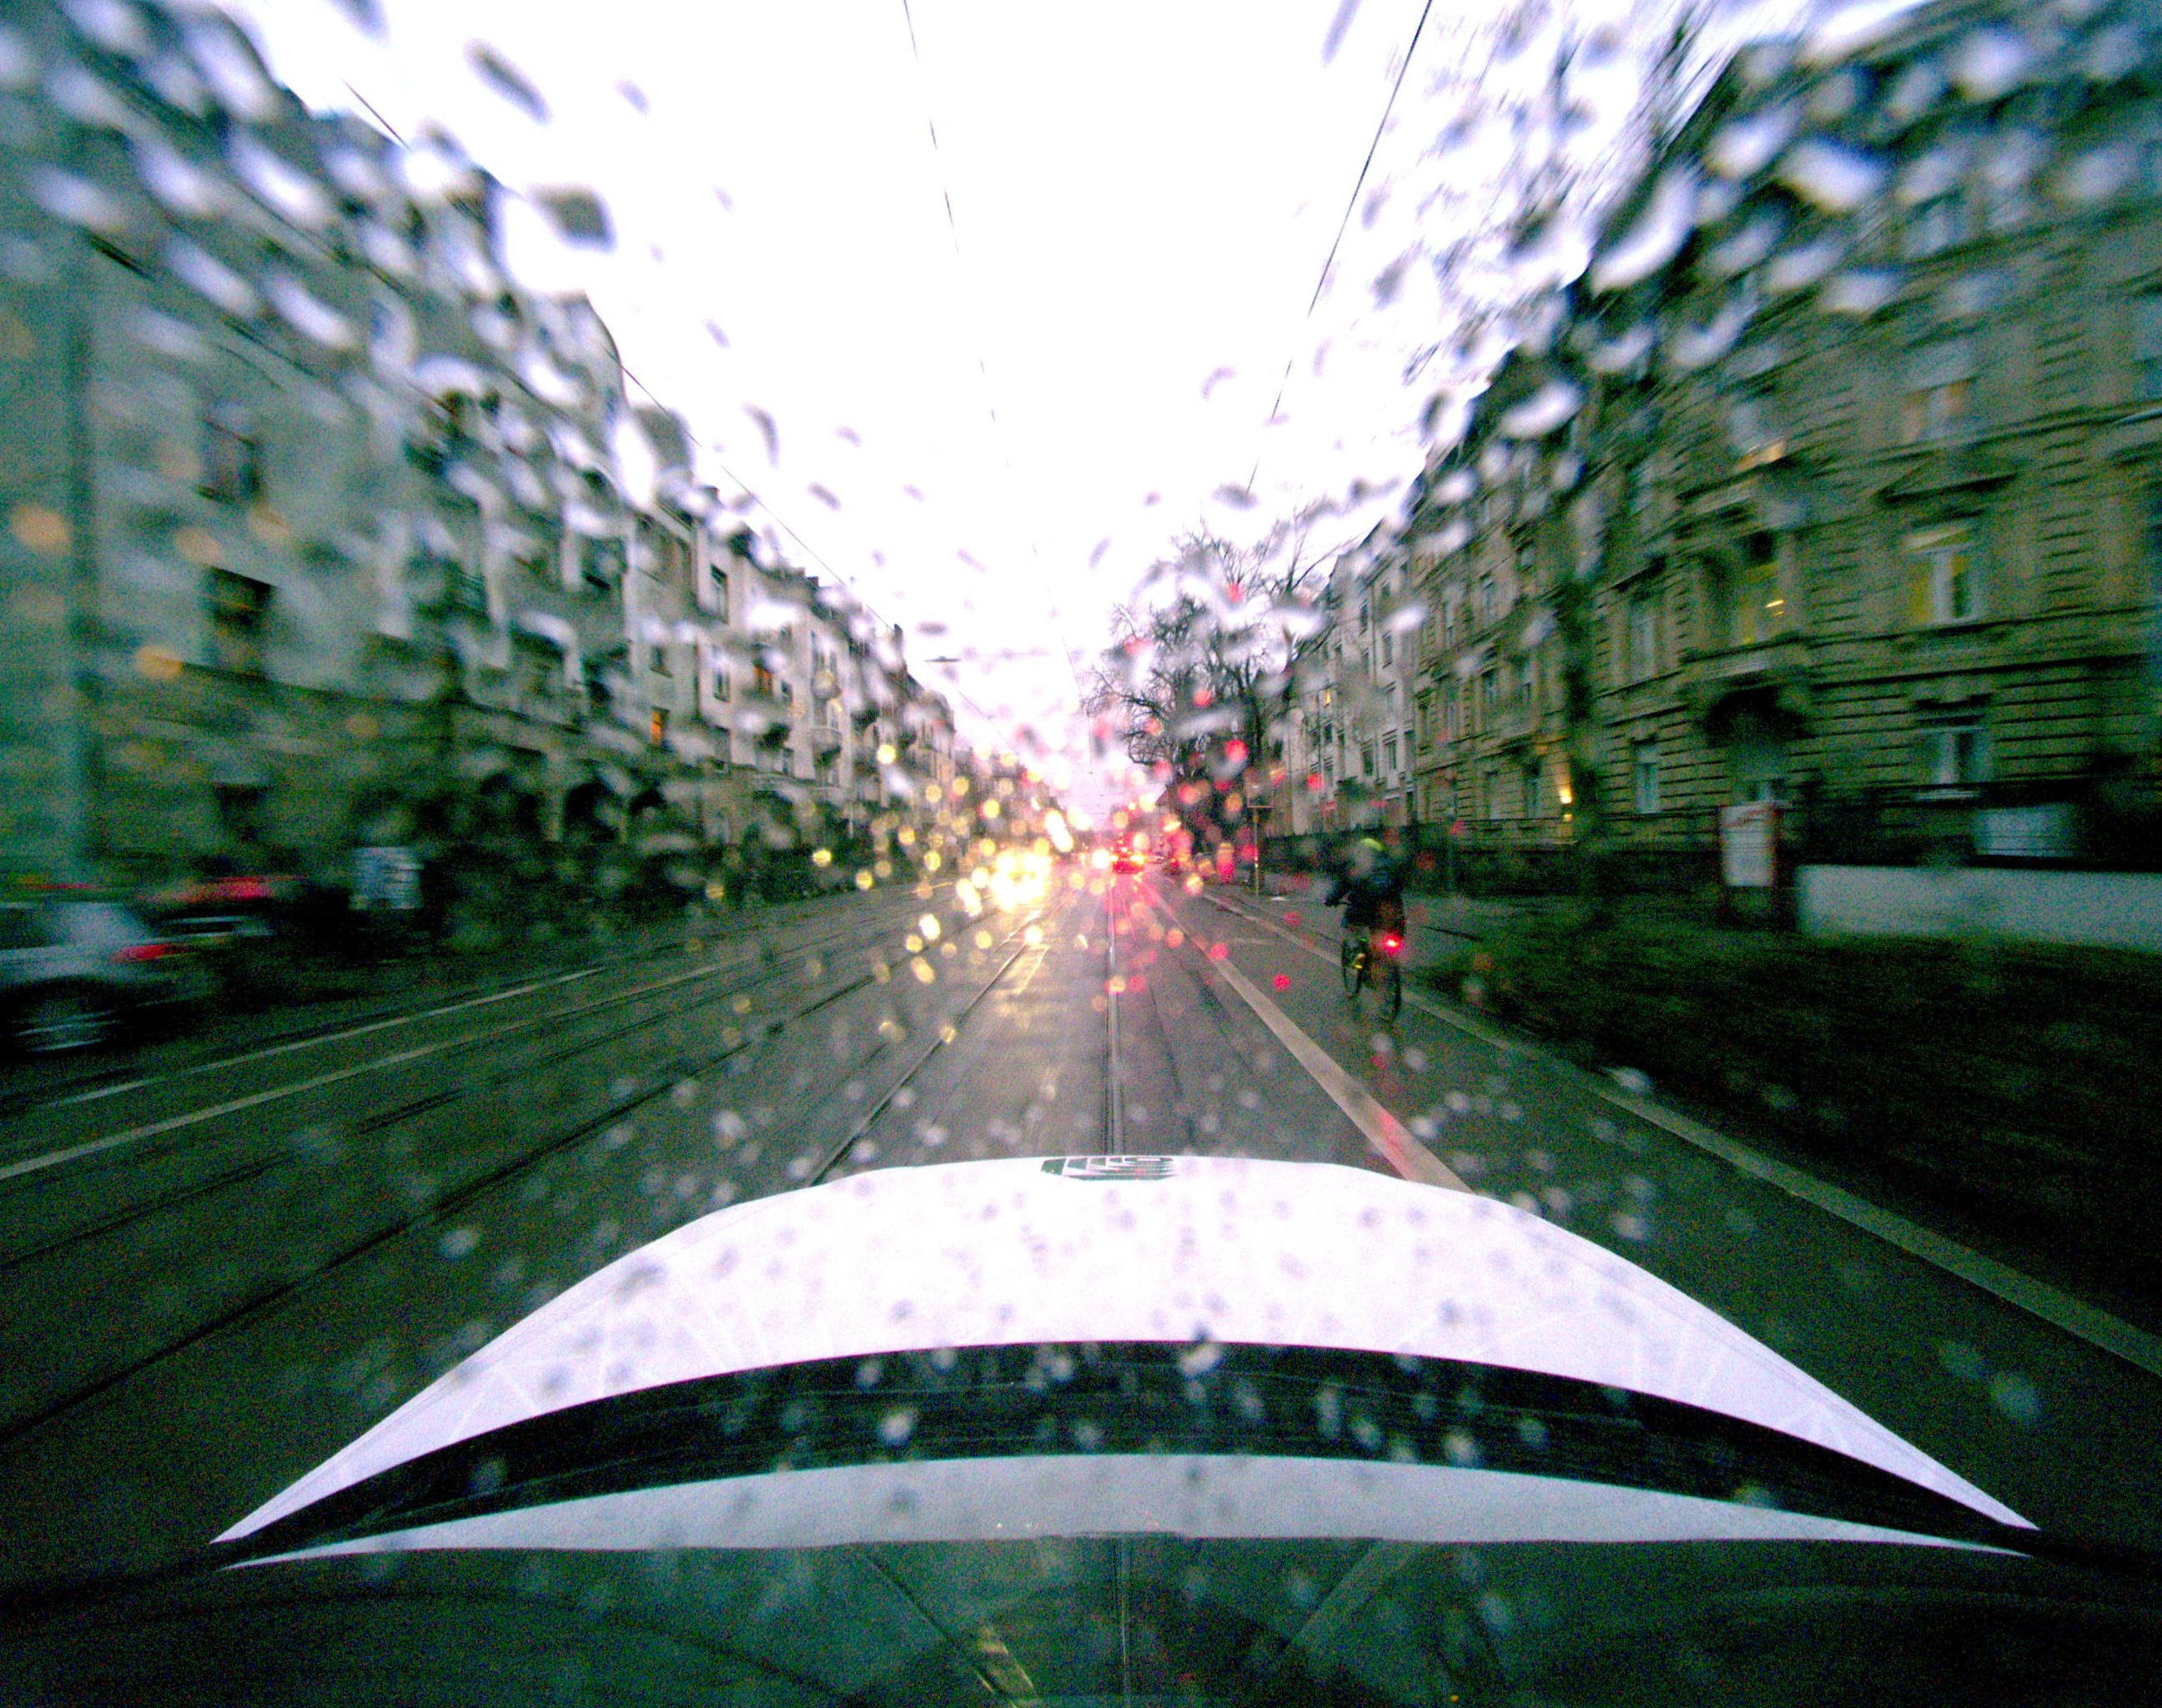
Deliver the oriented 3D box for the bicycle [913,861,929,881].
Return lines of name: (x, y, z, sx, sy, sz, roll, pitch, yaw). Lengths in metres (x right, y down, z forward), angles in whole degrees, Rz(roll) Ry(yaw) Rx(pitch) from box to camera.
bicycle: (-9.249, 0.964, 47.149, 0.613, 1.080, 1.809, -2, 1, -3)

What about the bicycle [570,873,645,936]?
bicycle: (-10.086, 1.049, 17.405, 0.690, 1.212, 1.595, -2, 1, -3)

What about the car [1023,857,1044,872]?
car: (-4.390, 0.987, 76.094, 1.655, 1.198, 3.875, -2, 1, 0)

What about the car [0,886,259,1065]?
car: (-10.411, 1.148, 7.359, 4.022, 1.428, 1.826, -3, 1, -41)

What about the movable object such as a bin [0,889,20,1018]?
movable object such as a bin: (-12.941, 1.160, 8.781, 1.255, 1.450, 1.329, -2, 1, 9)

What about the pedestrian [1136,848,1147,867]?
pedestrian: (6.576, 0.410, 88.153, 1.019, 2.013, 0.919, -2, 1, -1)

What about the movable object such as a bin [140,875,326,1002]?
movable object such as a bin: (-10.972, 1.040, 10.617, 1.267, 1.450, 1.104, -2, 1, -20)

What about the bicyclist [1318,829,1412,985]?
bicyclist: (2.801, 0.496, 8.110, 0.653, 1.446, 0.850, -2, 1, 5)

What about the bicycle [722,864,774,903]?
bicycle: (-11.485, 1.039, 28.089, 1.582, 1.264, 0.490, -3, -5, 5)

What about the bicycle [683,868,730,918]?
bicycle: (-9.986, 1.006, 21.754, 0.629, 1.212, 1.592, -2, 1, -7)

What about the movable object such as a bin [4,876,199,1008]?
movable object such as a bin: (-12.169, 1.046, 10.192, 1.092, 1.450, 1.104, -2, 1, -20)

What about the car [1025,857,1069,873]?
car: (-4.035, 1.325, 96.461, 4.920, 1.716, 1.701, -2, 1, 6)

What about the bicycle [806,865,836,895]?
bicycle: (-9.833, 0.996, 30.846, 0.690, 1.031, 1.594, -3, -3, -3)

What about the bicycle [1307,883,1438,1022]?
bicycle: (2.828, 0.900, 8.134, 0.704, 1.096, 2.032, -2, 1, 5)

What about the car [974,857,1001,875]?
car: (-8.554, 1.095, 74.536, 1.826, 1.447, 4.002, -2, 1, 2)

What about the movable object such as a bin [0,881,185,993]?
movable object such as a bin: (-14.394, 1.169, 11.827, 1.255, 1.450, 1.329, -2, 1, 9)

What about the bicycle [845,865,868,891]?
bicycle: (-9.619, 1.006, 34.872, 0.691, 1.031, 1.592, -2, 0, -7)

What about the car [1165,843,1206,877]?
car: (6.521, 0.327, 51.355, 1.986, 1.900, 5.028, -2, 1, 1)

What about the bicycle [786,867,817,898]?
bicycle: (-9.901, 1.033, 28.916, 0.691, 1.031, 1.590, -2, -3, -7)

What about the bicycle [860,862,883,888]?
bicycle: (-9.534, 0.931, 37.162, 0.484, 1.099, 1.931, -3, 0, 1)

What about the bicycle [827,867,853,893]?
bicycle: (-9.750, 1.044, 32.992, 0.691, 1.031, 1.592, -2, -1, -7)

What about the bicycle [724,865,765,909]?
bicycle: (-10.101, 0.970, 24.524, 0.691, 1.212, 1.592, -2, 1, -7)

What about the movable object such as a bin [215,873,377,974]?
movable object such as a bin: (-12.539, 1.079, 13.066, 1.255, 1.450, 1.329, -2, 1, 9)

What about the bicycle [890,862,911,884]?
bicycle: (-9.329, 0.983, 42.216, 0.623, 1.017, 1.806, -3, 1, 1)

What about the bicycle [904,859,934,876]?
bicycle: (-10.675, 0.891, 53.683, 1.802, 1.080, 0.615, -2, 1, -5)

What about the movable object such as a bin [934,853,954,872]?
movable object such as a bin: (-11.585, 0.748, 69.047, 1.403, 1.530, 1.365, -2, 1, 2)

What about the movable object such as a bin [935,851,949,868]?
movable object such as a bin: (-13.653, 0.547, 80.099, 1.009, 1.600, 1.082, -2, 1, 4)

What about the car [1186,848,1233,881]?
car: (6.212, 0.464, 39.638, 1.671, 1.460, 4.043, -2, 0, 1)

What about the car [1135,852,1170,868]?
car: (8.510, 0.743, 96.986, 3.970, 1.727, 1.741, -2, 1, 3)

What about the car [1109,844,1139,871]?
car: (3.081, 0.279, 58.943, 1.986, 1.897, 4.759, -1, -1, 1)

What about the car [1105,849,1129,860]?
car: (6.387, 0.064, 146.078, 3.983, 1.716, 1.899, -2, 1, -7)

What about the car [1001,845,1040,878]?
car: (-3.891, 0.429, 53.347, 2.039, 1.922, 5.100, -2, 1, 0)
